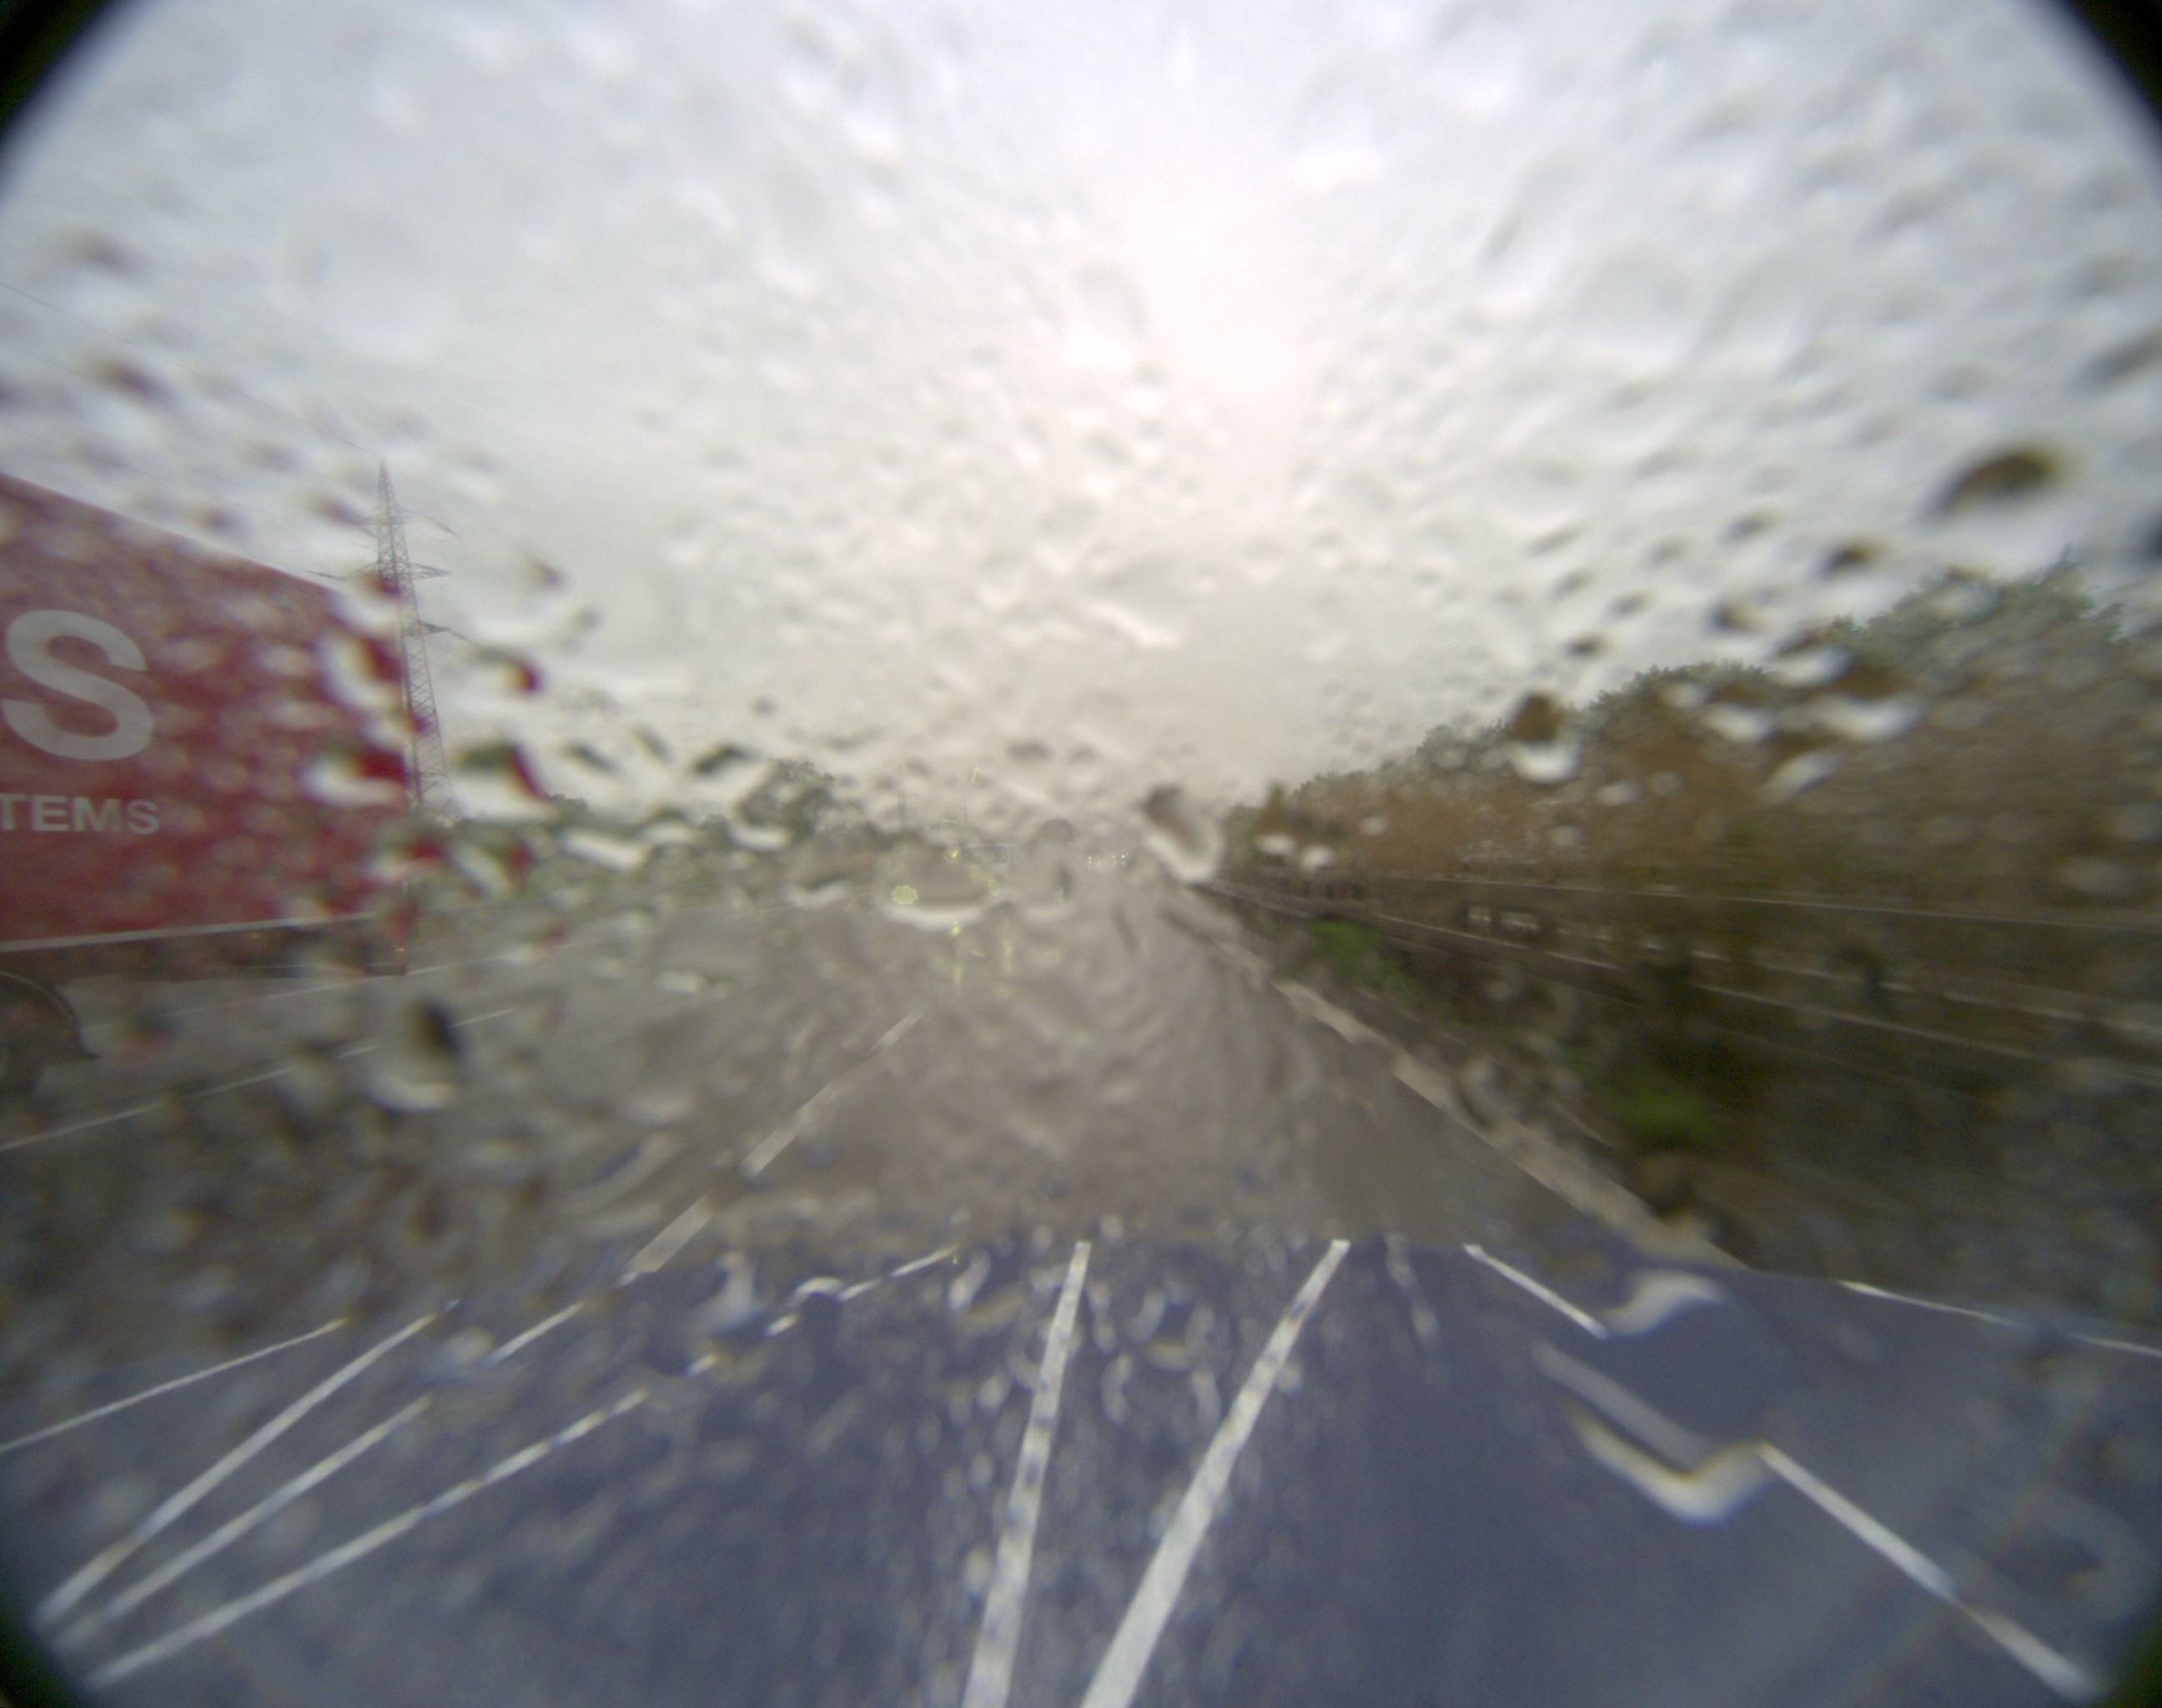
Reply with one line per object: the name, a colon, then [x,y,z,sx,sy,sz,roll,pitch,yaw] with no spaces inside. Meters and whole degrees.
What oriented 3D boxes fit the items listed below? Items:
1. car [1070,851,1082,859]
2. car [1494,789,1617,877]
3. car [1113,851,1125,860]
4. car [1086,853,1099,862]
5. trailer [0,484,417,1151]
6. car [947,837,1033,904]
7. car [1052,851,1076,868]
car: [-1.013,0.146,147.472,1.768,1.448,3.961,-4,0,6]
car: [17.988,-0.769,29.114,1.998,3.038,4.418,-2,1,1]
car: [6.796,0.226,135.117,1.768,1.448,3.961,-4,0,6]
car: [2.029,0.549,133.760,1.768,1.448,3.961,-4,0,6]
trailer: [-7.721,-0.155,0.339,2.627,3.932,13.629,-2,1,1]
car: [-2.906,0.485,25.467,1.891,1.873,5.010,-4,0,3]
car: [-1.598,0.479,72.620,1.768,1.448,3.961,-4,0,6]
